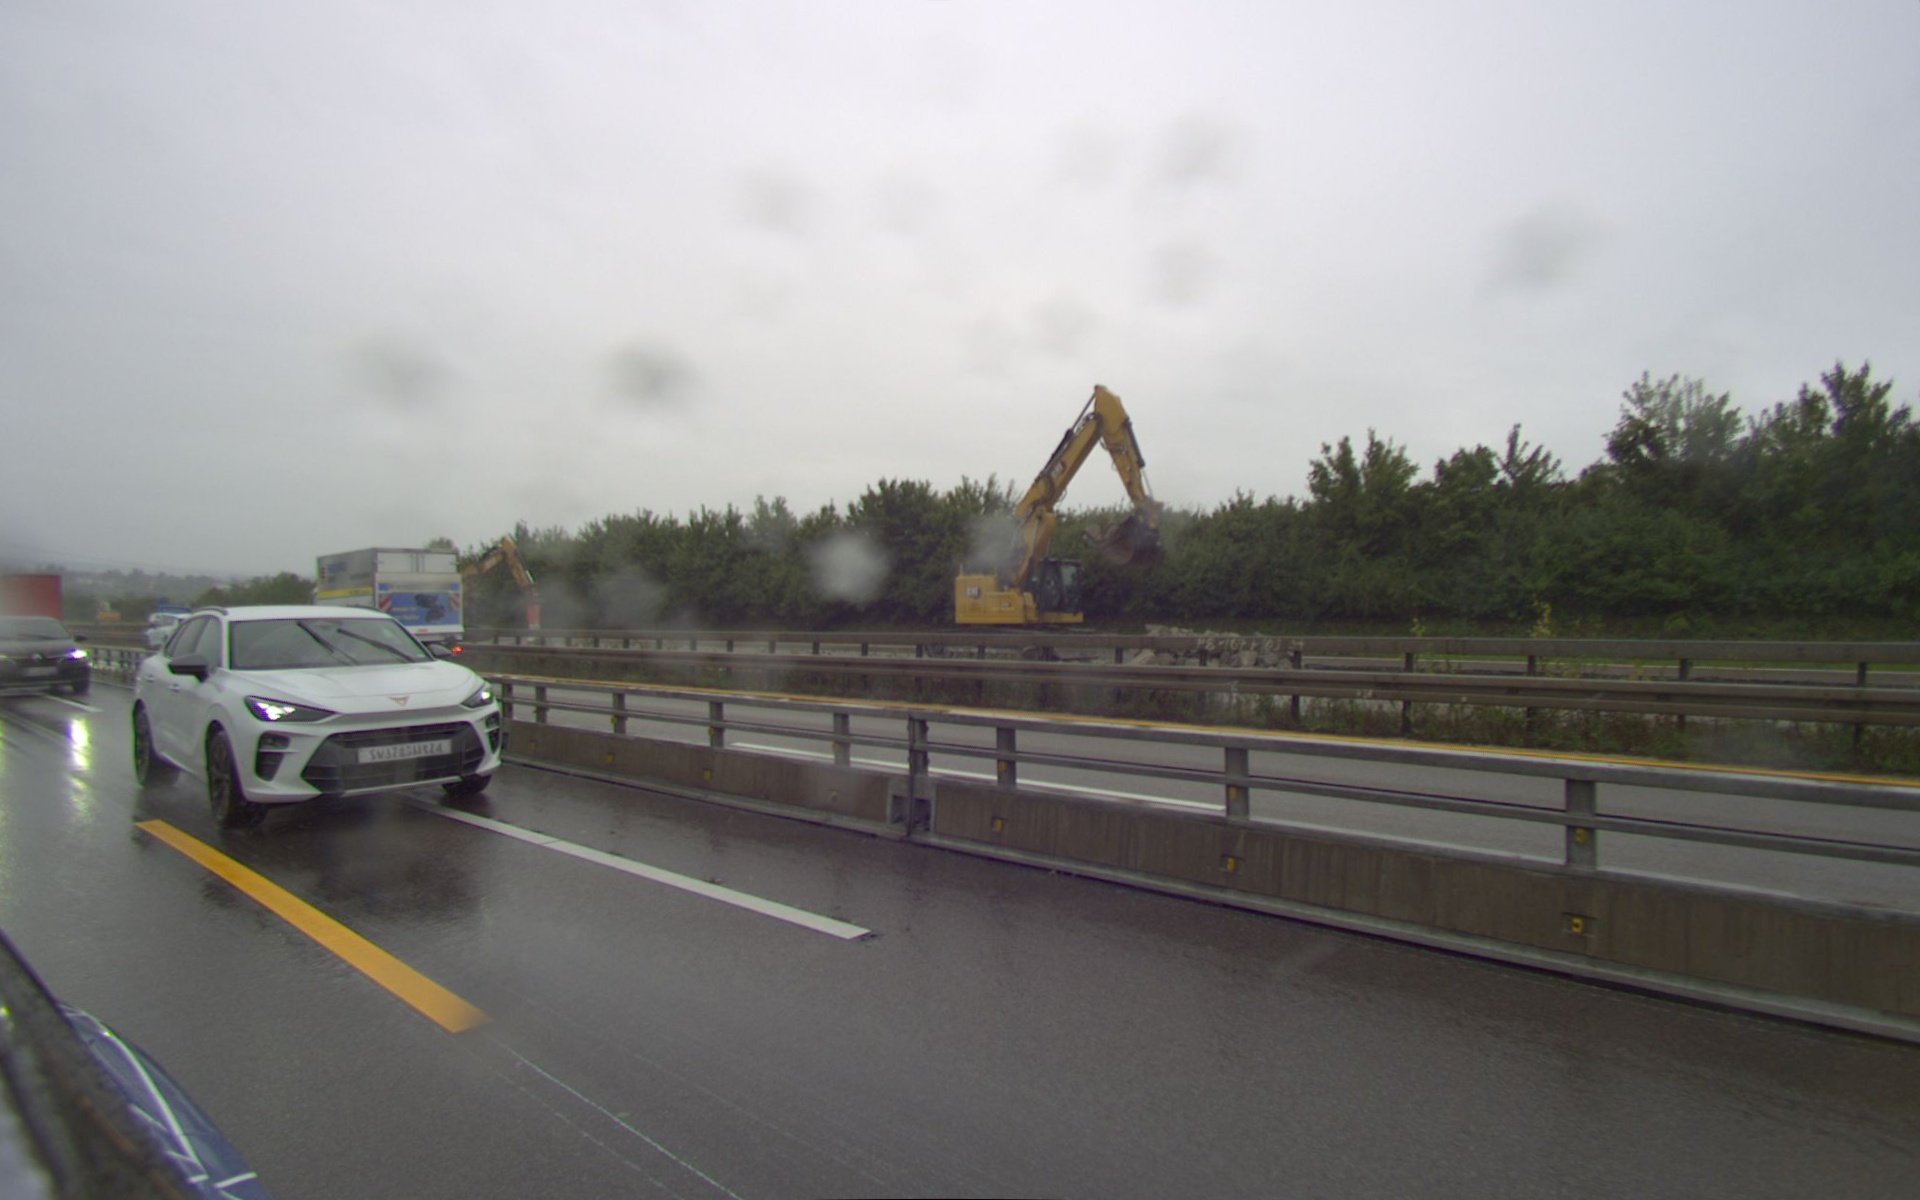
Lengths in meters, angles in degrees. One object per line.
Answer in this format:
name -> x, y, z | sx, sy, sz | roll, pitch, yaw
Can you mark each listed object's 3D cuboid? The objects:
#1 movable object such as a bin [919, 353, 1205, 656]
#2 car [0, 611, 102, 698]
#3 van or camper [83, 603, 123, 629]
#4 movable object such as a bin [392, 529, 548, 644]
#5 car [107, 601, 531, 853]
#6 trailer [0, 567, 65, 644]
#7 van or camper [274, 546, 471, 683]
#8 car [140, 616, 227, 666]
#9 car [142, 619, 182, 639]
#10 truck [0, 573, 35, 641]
movable object such as a bin -> 2.976, -2.591, 31.533 | 8.306, 8.204, 3.558 | -1, 0, 42
car -> -19.713, 1.068, 21.158 | 5.194, 1.640, 2.042 | -1, -1, 42
van or camper -> -149.280, 2.805, 176.232 | 8.489, 4.356, 3.337 | -1, 0, 36
movable object such as a bin -> -28.073, -0.688, 57.637 | 11.043, 5.959, 4.126 | -1, 1, 42
car -> -5.755, 0.822, 8.753 | 5.007, 1.562, 1.906 | -1, 0, 43
trailer -> -57.156, 0.384, 61.111 | 11.050, 4.327, 2.946 | -1, -2, 40
van or camper -> -15.078, 0.323, 25.753 | 6.695, 3.064, 2.270 | -1, 1, 41
car -> -28.355, 1.436, 36.903 | 4.541, 1.681, 1.619 | -1, 1, 41
car -> -85.292, 3.085, 108.119 | 5.356, 1.981, 2.074 | -1, -1, 37
truck -> -62.882, 0.462, 65.923 | 6.794, 4.304, 2.977 | -1, -2, 40
